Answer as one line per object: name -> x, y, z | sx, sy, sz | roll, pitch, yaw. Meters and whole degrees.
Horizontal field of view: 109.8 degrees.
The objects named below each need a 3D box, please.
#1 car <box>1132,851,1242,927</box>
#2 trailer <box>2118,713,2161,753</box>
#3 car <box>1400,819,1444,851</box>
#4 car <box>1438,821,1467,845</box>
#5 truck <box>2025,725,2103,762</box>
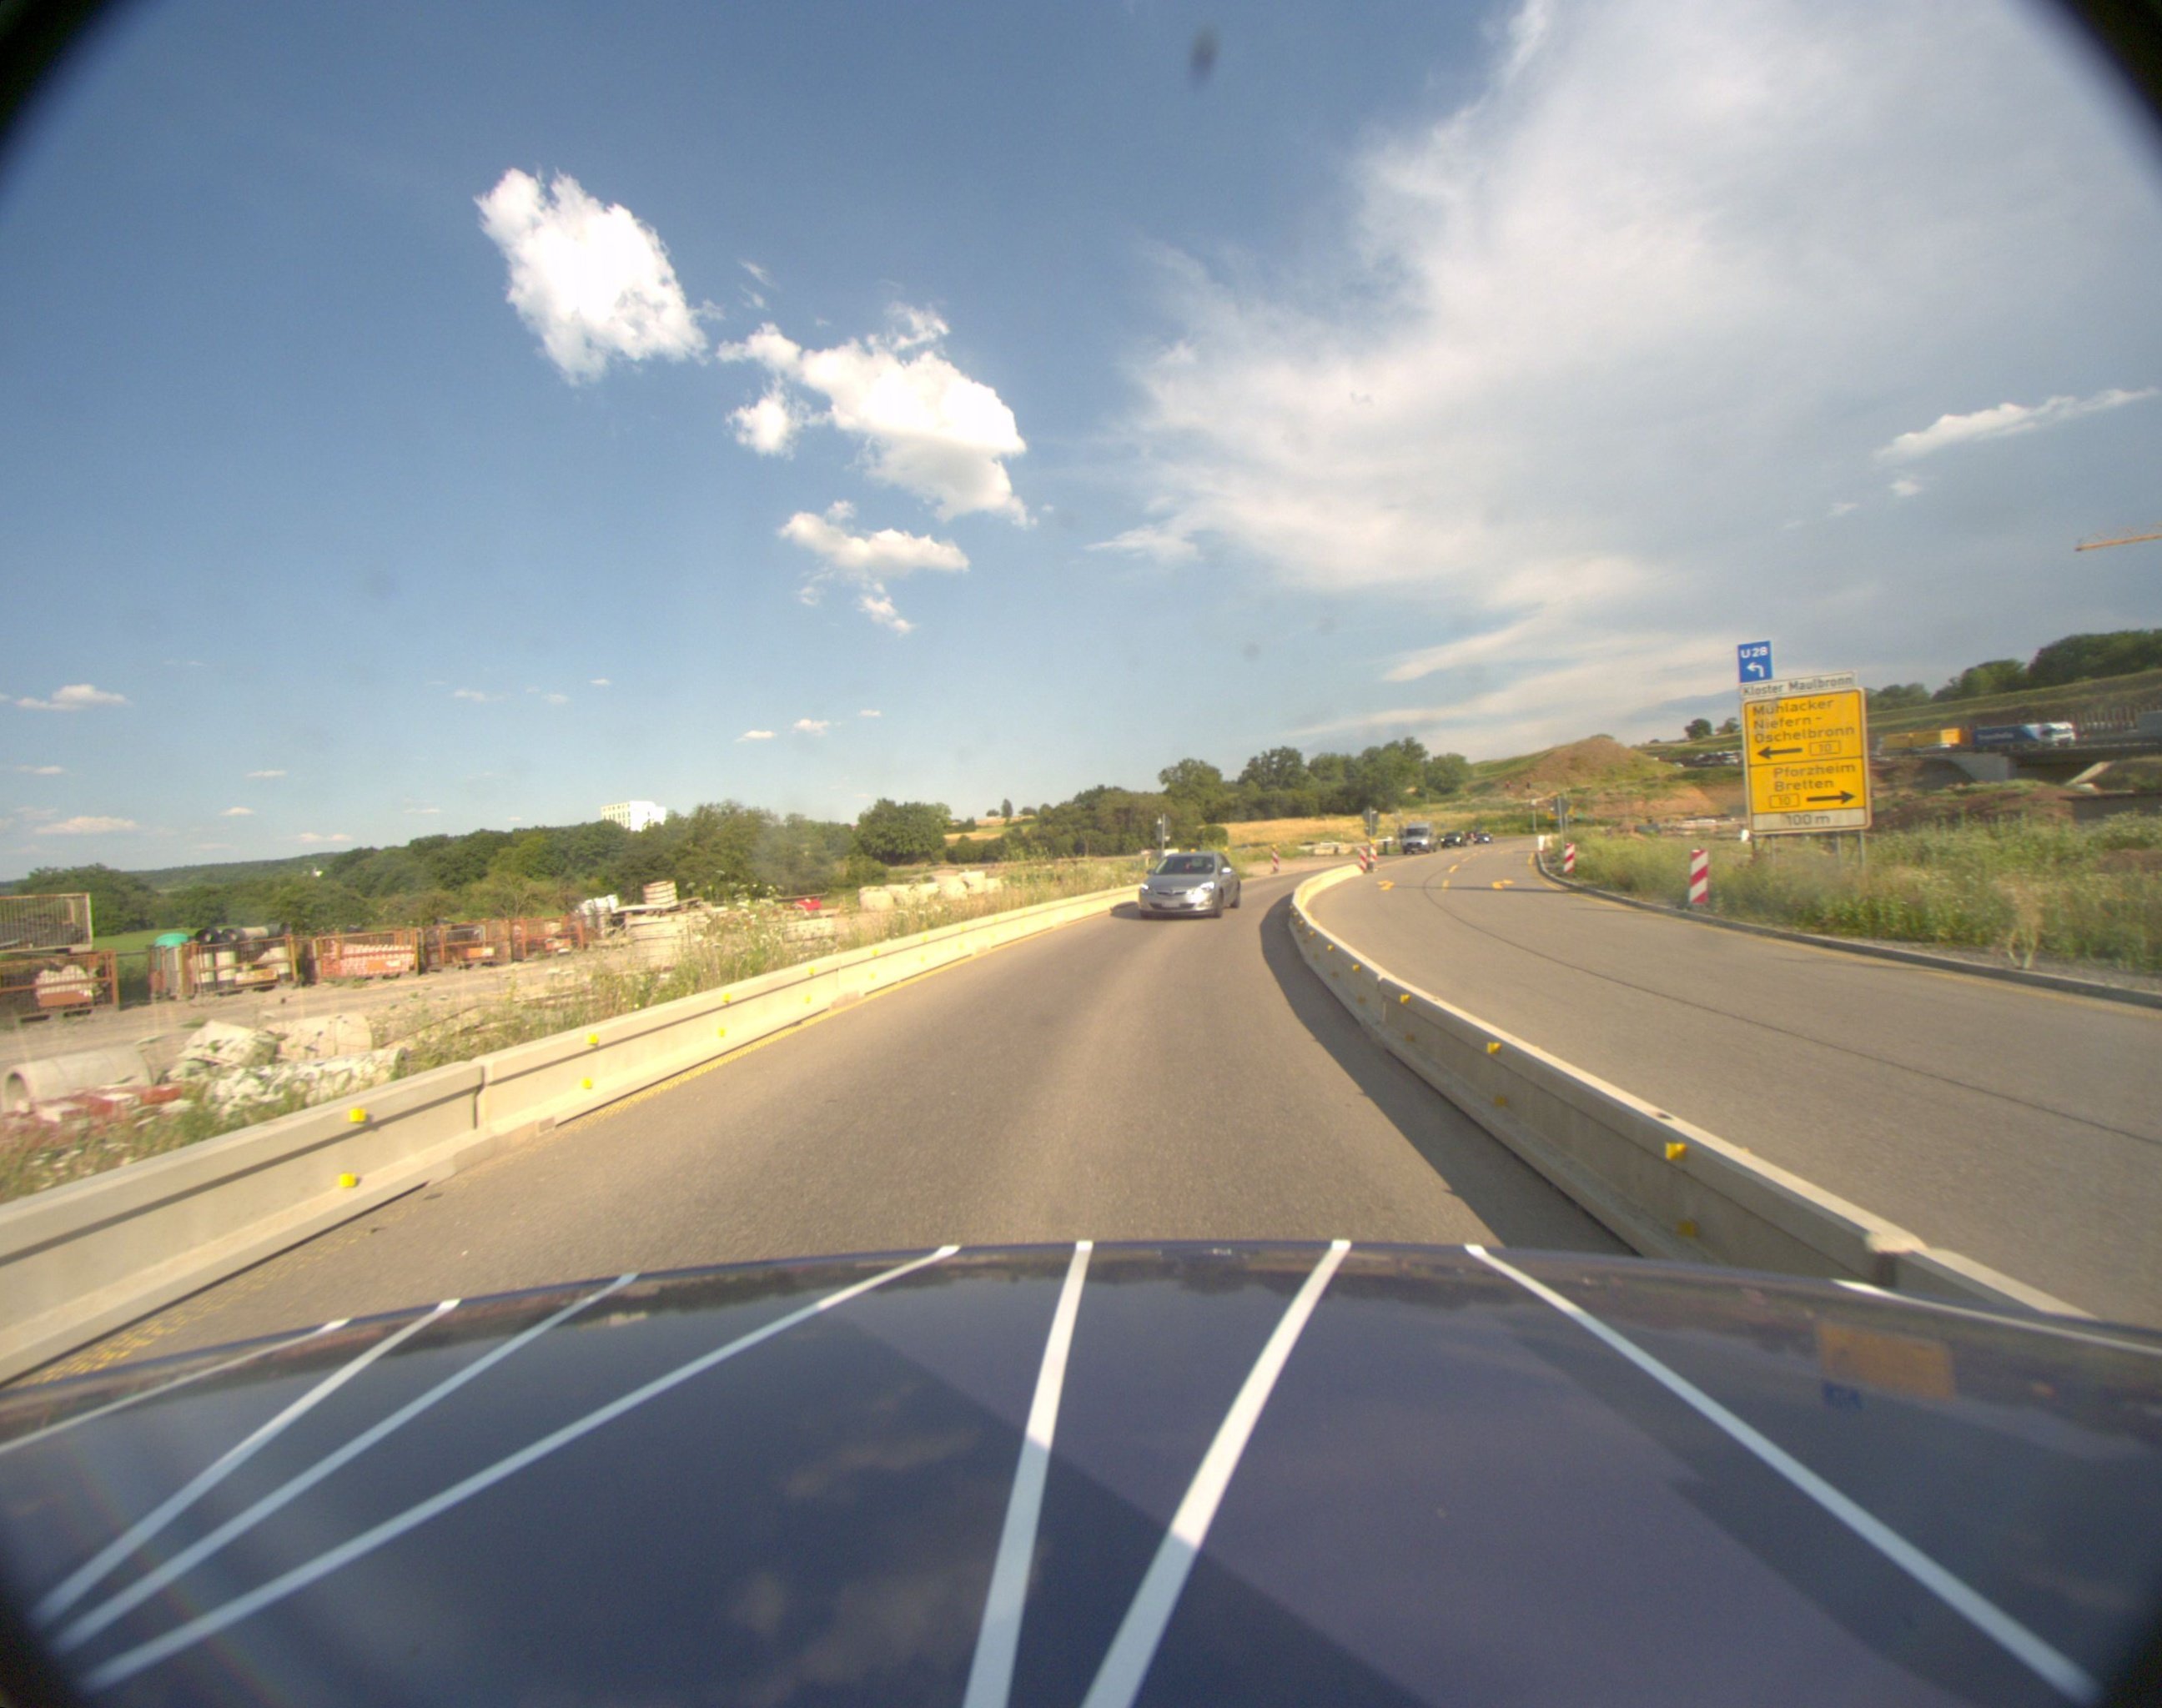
car -> 2.605, 0.727, 17.775 | 1.745, 1.476, 4.257 | -3, 0, 18
trailer -> 132.677, -14.995, 90.623 | 3.107, 4.289, 14.269 | -2, 1, 19
car -> 27.719, -1.578, 61.681 | 1.912, 2.486, 5.808 | -2, 1, 37
car -> 38.964, -2.179, 79.602 | 1.872, 2.389, 4.007 | -2, 1, 37
truck -> 137.117, -15.344, 106.206 | 2.518, 3.978, 8.564 | -2, 1, 21
